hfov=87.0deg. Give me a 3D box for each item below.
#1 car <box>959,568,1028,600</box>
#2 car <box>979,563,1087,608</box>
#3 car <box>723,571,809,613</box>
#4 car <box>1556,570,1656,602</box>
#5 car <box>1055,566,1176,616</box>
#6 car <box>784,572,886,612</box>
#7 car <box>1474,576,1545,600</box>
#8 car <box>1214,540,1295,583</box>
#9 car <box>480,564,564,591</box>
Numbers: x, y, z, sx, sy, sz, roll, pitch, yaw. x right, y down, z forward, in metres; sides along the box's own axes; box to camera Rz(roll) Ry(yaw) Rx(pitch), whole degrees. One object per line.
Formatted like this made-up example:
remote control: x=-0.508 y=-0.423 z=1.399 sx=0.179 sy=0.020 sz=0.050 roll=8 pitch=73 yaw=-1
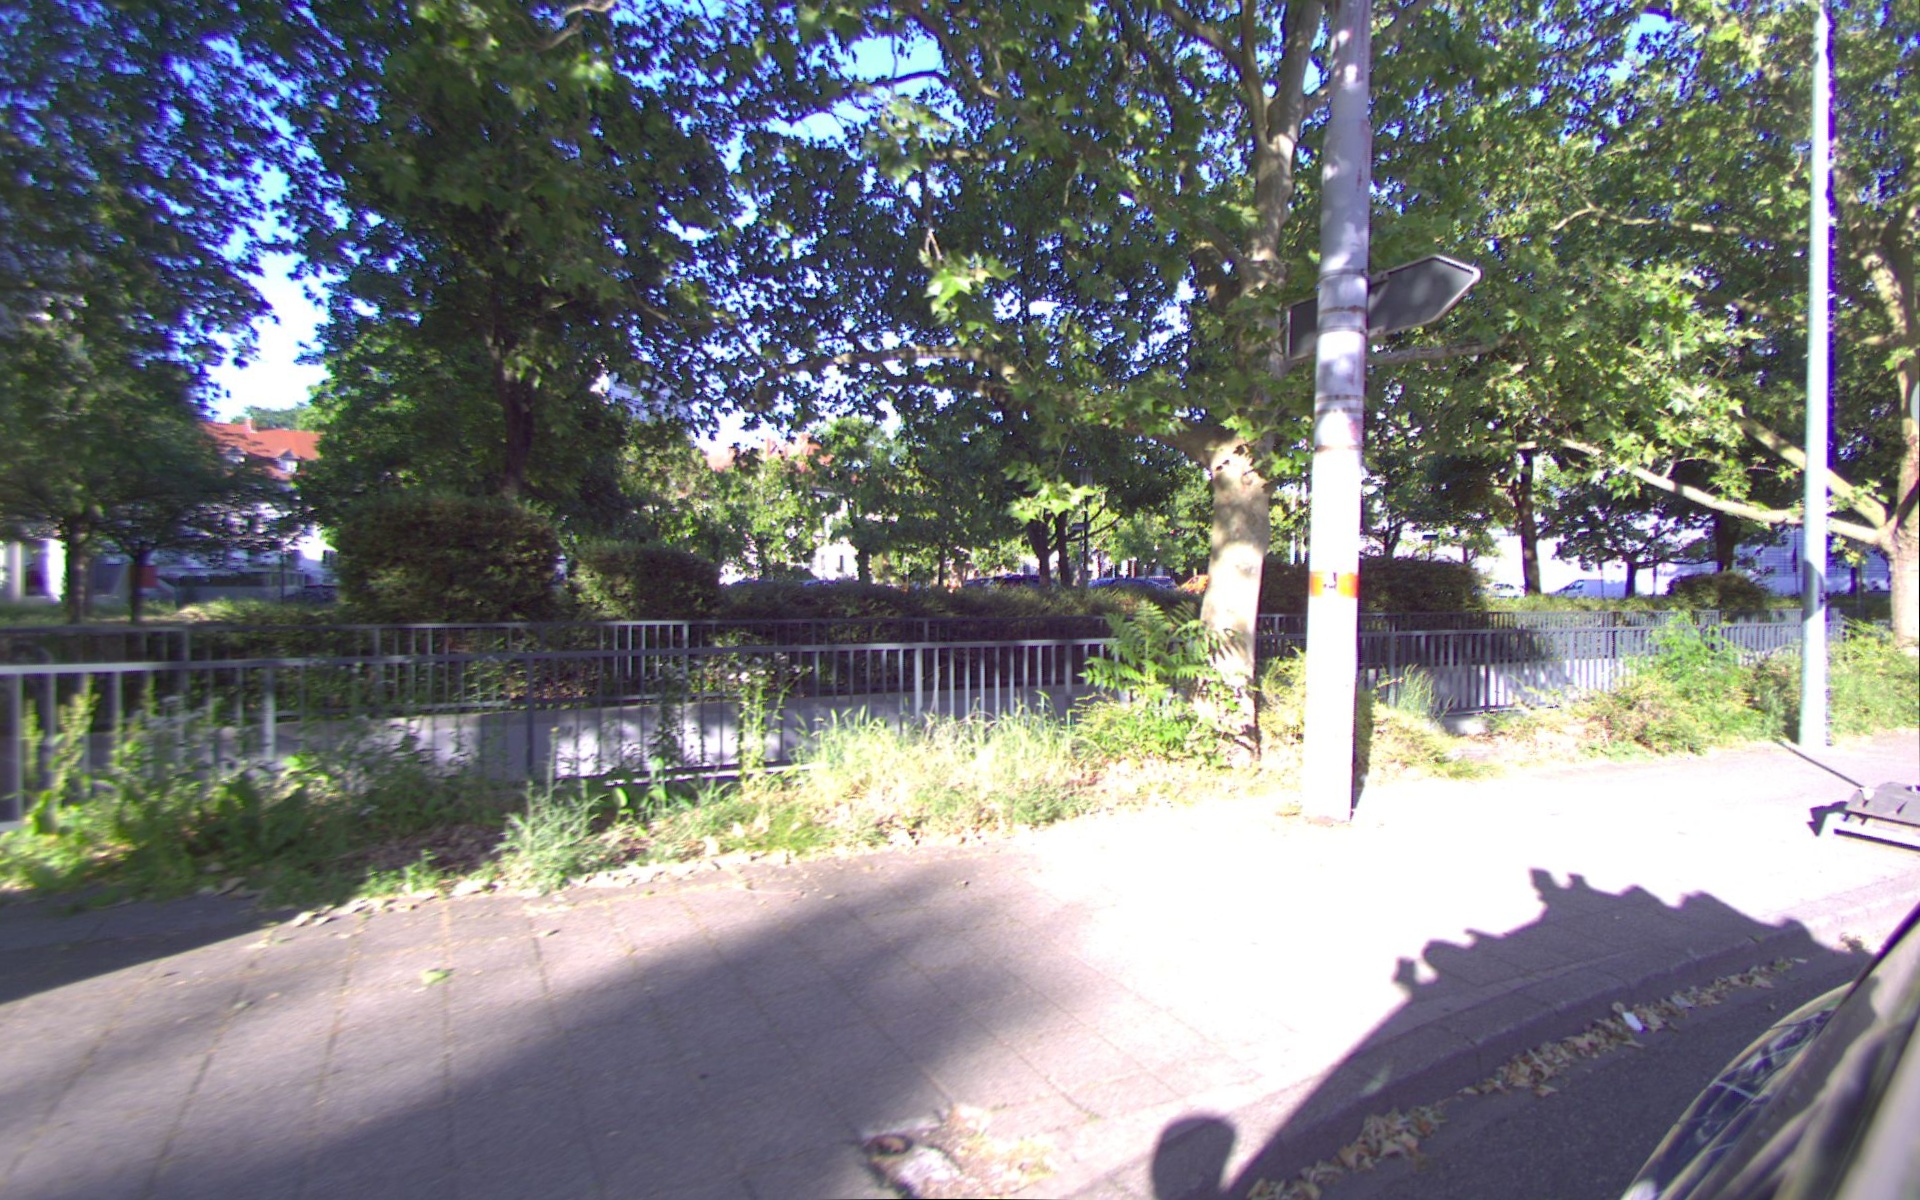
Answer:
car: x=2.115 y=-0.964 z=64.230 sx=3.963 sy=1.971 sz=1.926 roll=0 pitch=0 yaw=-29
car: x=2.806 y=-0.526 z=38.790 sx=3.918 sy=1.647 sz=1.555 roll=0 pitch=0 yaw=-27
car: x=-10.038 y=-0.441 z=52.516 sx=3.922 sy=2.038 sz=2.002 roll=0 pitch=2 yaw=-33
car: x=39.179 y=-0.898 z=61.499 sx=2.067 sy=1.851 sz=4.726 roll=0 pitch=2 yaw=-29
car: x=5.371 y=-0.332 z=34.885 sx=3.921 sy=1.646 sz=1.765 roll=0 pitch=1 yaw=-32
car: x=-5.350 y=-0.311 z=43.243 sx=3.918 sy=1.647 sz=1.927 roll=0 pitch=0 yaw=-27
car: x=36.168 y=-0.820 z=66.692 sx=1.597 sy=1.503 sz=3.856 roll=0 pitch=2 yaw=-29
car: x=18.814 y=-2.387 z=64.511 sx=5.055 sy=2.605 sz=2.002 roll=0 pitch=0 yaw=-29
car: x=-26.651 y=-1.344 z=61.541 sx=4.562 sy=1.494 sz=2.017 roll=0 pitch=0 yaw=-27
